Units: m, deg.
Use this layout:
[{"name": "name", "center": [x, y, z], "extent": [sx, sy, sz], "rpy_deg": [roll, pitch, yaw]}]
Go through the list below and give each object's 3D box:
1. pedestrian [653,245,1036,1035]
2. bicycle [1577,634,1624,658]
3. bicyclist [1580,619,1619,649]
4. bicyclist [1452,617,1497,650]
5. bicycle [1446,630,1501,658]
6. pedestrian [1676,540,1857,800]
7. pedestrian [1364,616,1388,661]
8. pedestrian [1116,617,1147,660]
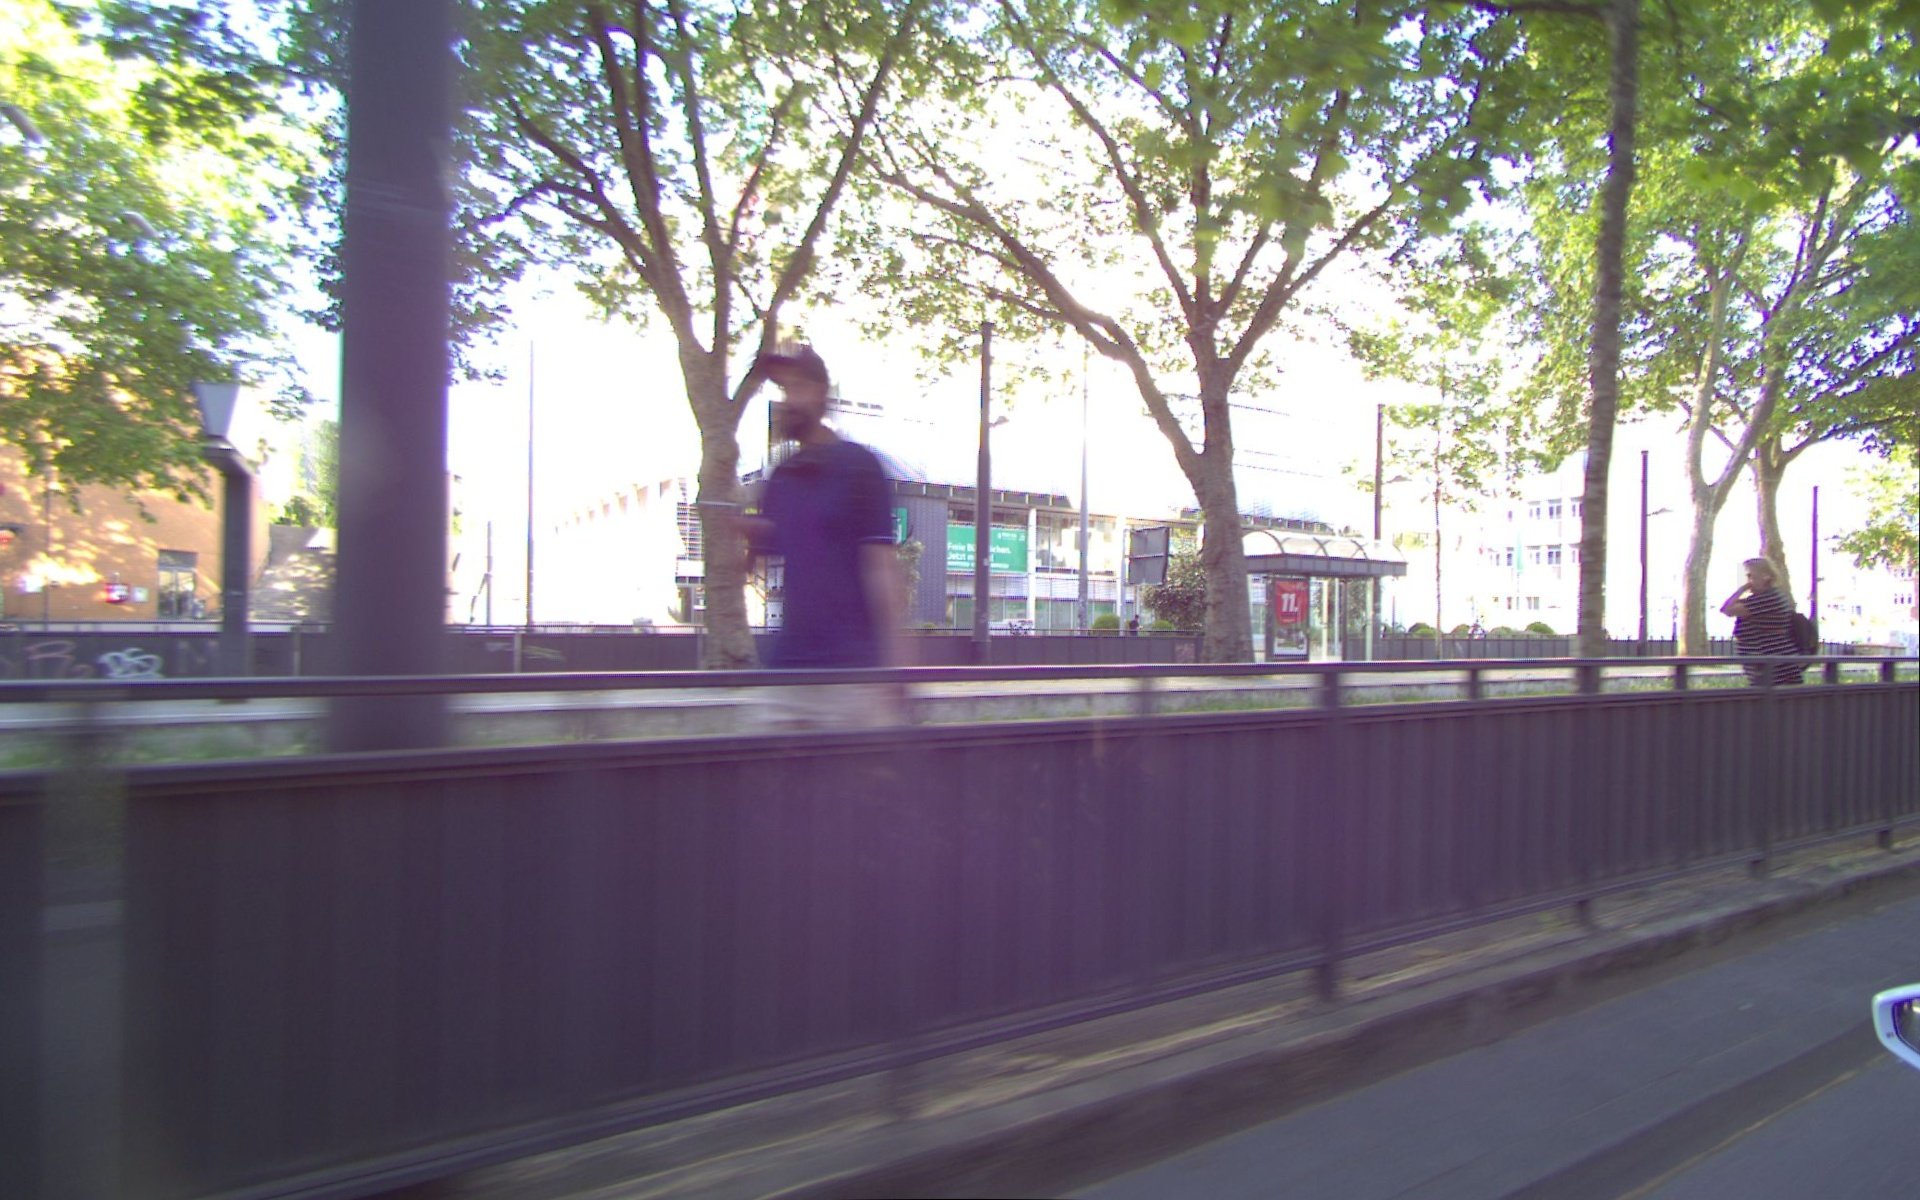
[{"name": "pedestrian", "center": [-0.332, 0.098, 2.855], "extent": [0.819, 1.826, 0.701], "rpy_deg": [1, 0, -38]}, {"name": "bicycle", "center": [28.992, 2.056, 45.444], "extent": [2.558, 1.010, 0.795], "rpy_deg": [1, 1, -34]}, {"name": "bicyclist", "center": [28.942, 1.536, 45.434], "extent": [1.359, 1.267, 0.998], "rpy_deg": [1, 1, -33]}, {"name": "bicyclist", "center": [20.303, 1.306, 39.630], "extent": [1.359, 1.267, 0.998], "rpy_deg": [1, 1, -33]}, {"name": "bicycle", "center": [20.263, 1.725, 39.620], "extent": [2.558, 1.010, 0.795], "rpy_deg": [1, 1, -34]}, {"name": "pedestrian", "center": [5.758, 0.472, 7.184], "extent": [0.852, 1.725, 0.726], "rpy_deg": [1, 0, -29]}, {"name": "pedestrian", "center": [19.045, 1.756, 45.961], "extent": [0.825, 2.003, 0.602], "rpy_deg": [1, 1, -33]}, {"name": "pedestrian", "center": [6.566, 1.466, 38.464], "extent": [0.759, 1.613, 0.901], "rpy_deg": [1, -1, -31]}]
